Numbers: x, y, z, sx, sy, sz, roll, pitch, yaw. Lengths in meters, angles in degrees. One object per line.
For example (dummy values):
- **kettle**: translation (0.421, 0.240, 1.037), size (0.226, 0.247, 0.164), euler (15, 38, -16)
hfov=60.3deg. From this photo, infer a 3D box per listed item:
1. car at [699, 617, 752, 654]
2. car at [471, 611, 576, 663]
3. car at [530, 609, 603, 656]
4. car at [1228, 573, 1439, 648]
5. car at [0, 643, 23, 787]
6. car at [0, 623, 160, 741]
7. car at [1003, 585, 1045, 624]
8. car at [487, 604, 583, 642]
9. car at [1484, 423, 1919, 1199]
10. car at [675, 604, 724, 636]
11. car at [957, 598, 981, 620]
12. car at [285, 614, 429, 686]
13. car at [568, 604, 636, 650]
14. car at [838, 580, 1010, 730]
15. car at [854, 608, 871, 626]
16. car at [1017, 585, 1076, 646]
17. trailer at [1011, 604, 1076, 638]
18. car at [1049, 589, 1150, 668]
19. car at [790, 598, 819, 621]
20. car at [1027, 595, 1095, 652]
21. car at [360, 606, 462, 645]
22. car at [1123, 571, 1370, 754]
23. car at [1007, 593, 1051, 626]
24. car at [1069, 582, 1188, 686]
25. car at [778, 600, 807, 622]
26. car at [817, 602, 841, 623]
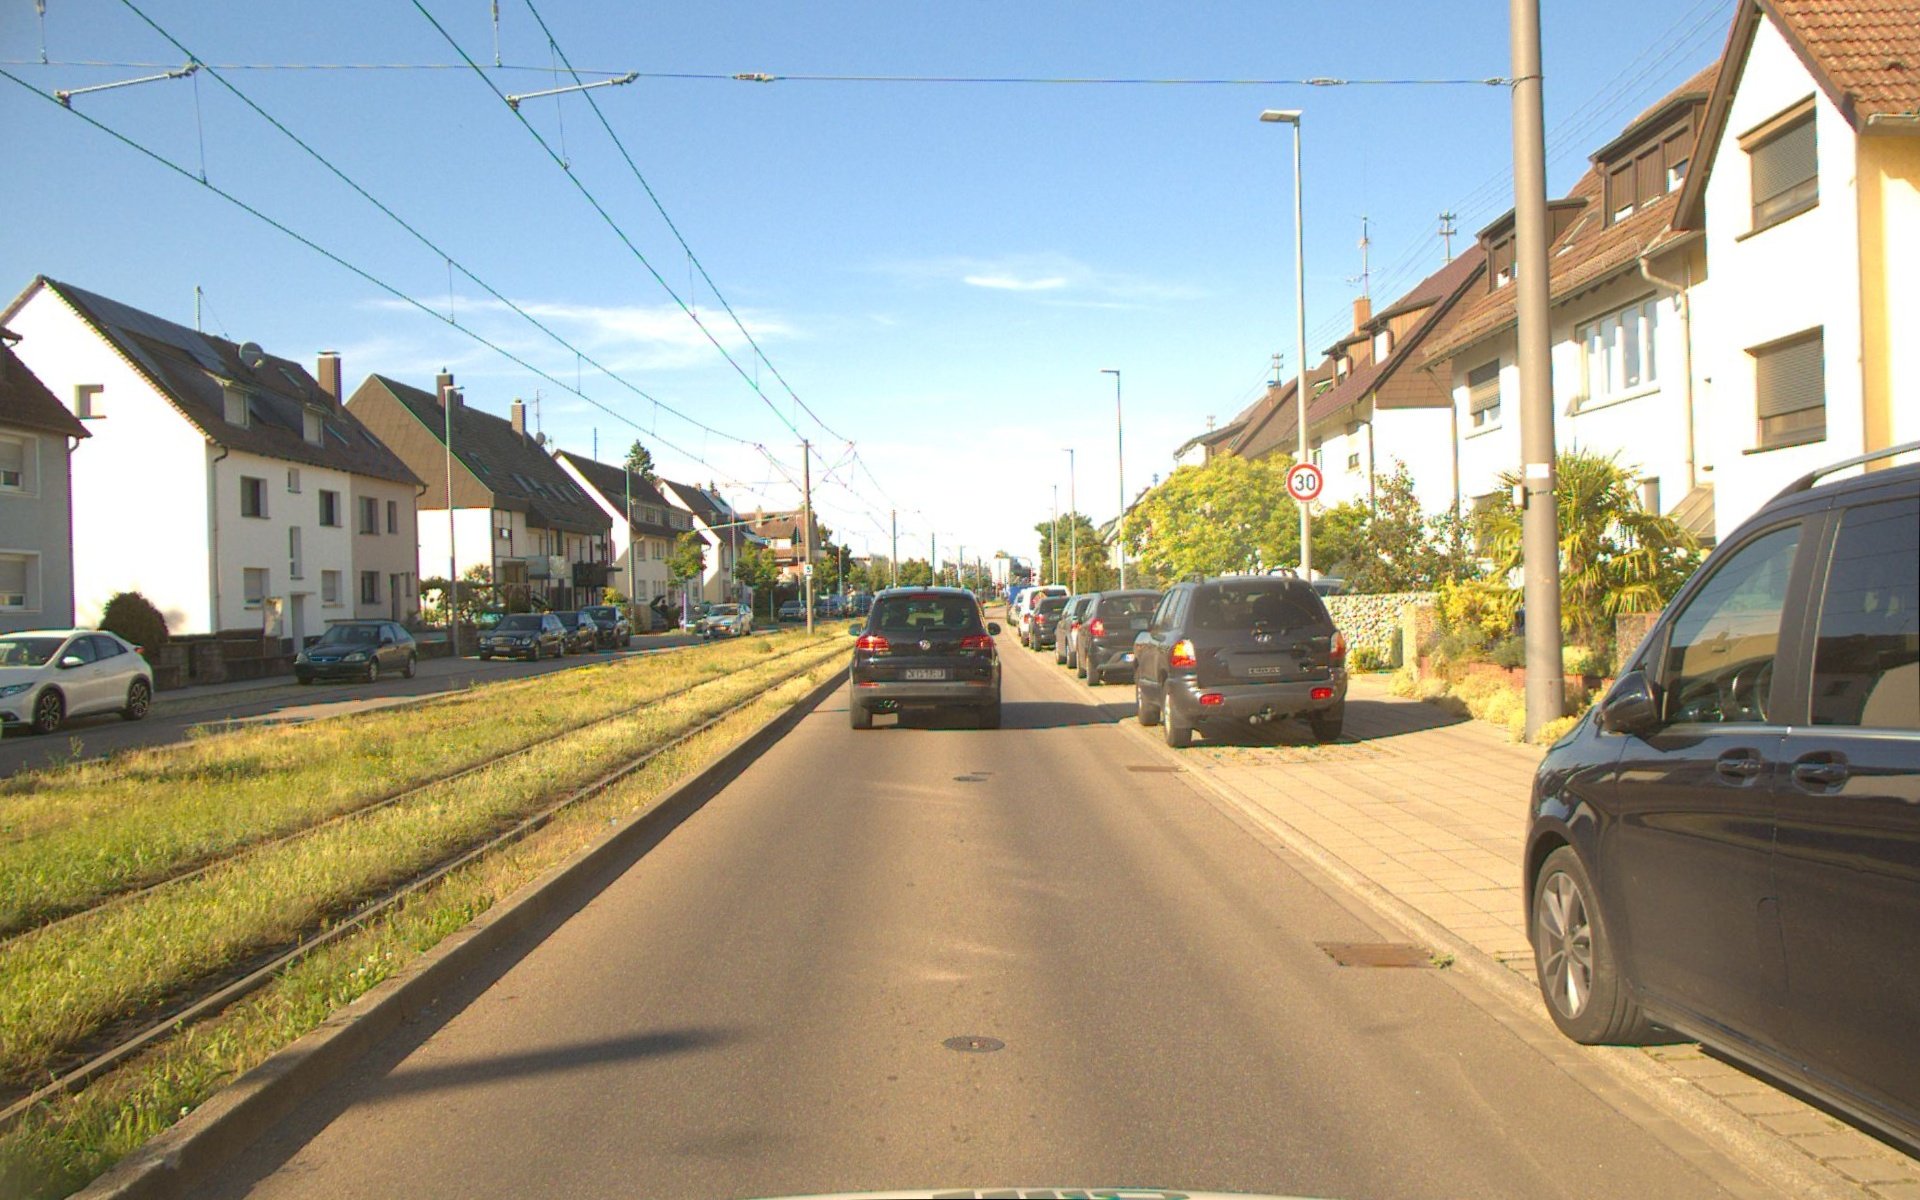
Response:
- **car**: translation (-10.392, 1.595, 73.605), size (1.673, 1.517, 4.024), euler (-2, -2, 1)
- **car**: translation (-13.922, 1.147, 53.002), size (1.837, 1.549, 4.882), euler (-1, 0, 3)
- **car**: translation (-13.855, 1.124, 58.439), size (1.489, 1.500, 4.201), euler (-1, 0, 1)
- **car**: translation (8.126, 0.250, 36.517), size (1.969, 1.470, 4.843), euler (-3, 0, -25)
- **car**: translation (-10.456, 1.190, 15.205), size (1.518, 1.436, 3.659), euler (-2, 0, 1)
- **car**: translation (-13.831, 1.180, 24.666), size (1.658, 1.544, 4.214), euler (-2, 0, 1)
- **car**: translation (3.285, 0.238, 85.895), size (1.952, 1.894, 4.917), euler (-2, 0, 1)
- **car**: translation (-19.981, 1.056, 77.845), size (4.083, 1.645, 1.758), euler (-2, 0, -4)
- **car**: translation (3.076, 0.515, 4.056), size (1.922, 1.868, 4.926), euler (-2, 0, -1)
- **car**: translation (-13.411, 1.012, 85.396), size (1.584, 1.478, 3.720), euler (-2, 0, 5)
- **car**: translation (0.602, 0.584, 110.645), size (1.540, 1.415, 3.614), euler (-2, 0, 0)
- **car**: translation (-14.009, 1.113, 38.675), size (1.753, 1.488, 4.167), euler (-2, 0, 1)
- **car**: translation (-13.789, 1.017, 63.960), size (1.767, 1.625, 4.809), euler (-2, 0, -3)
- **car**: translation (-0.561, 0.640, 20.965), size (1.777, 1.700, 4.251), euler (0, -1, -7)
- **car**: translation (-9.841, 1.699, 166.413), size (1.435, 1.706, 3.287), euler (-2, -1, 1)
- **car**: translation (2.715, 0.467, 52.585), size (1.655, 1.807, 4.656), euler (-2, 0, 1)
- **trailer**: translation (3.135, 0.773, 62.778), size (2.159, 1.113, 4.371), euler (-3, 0, -1)
- **car**: translation (2.851, 0.571, 34.594), size (1.583, 1.501, 4.448), euler (-2, 0, -2)
- **car**: translation (-11.964, 0.689, 127.441), size (1.766, 1.660, 4.000), euler (-2, 0, 1)
- **car**: translation (2.781, 0.634, 46.396), size (1.637, 1.478, 4.125), euler (-2, 0, 0)
- **car**: translation (-25.781, 1.182, 77.732), size (4.071, 1.683, 1.858), euler (-2, 0, 3)
- **car**: translation (2.954, 0.589, 18.002), size (1.816, 1.688, 4.472), euler (-2, 0, -1)
- **car**: translation (3.285, 0.441, 79.521), size (1.750, 1.466, 4.458), euler (-3, 0, -1)
- **car**: translation (2.840, 0.544, 28.533), size (1.632, 1.574, 3.836), euler (-4, 0, 1)
- **car**: translation (-12.256, 0.776, 121.282), size (1.625, 1.523, 3.580), euler (-2, 0, 1)
- **car**: translation (-11.369, 1.099, 143.644), size (1.626, 1.609, 4.000), euler (-2, -2, 1)
